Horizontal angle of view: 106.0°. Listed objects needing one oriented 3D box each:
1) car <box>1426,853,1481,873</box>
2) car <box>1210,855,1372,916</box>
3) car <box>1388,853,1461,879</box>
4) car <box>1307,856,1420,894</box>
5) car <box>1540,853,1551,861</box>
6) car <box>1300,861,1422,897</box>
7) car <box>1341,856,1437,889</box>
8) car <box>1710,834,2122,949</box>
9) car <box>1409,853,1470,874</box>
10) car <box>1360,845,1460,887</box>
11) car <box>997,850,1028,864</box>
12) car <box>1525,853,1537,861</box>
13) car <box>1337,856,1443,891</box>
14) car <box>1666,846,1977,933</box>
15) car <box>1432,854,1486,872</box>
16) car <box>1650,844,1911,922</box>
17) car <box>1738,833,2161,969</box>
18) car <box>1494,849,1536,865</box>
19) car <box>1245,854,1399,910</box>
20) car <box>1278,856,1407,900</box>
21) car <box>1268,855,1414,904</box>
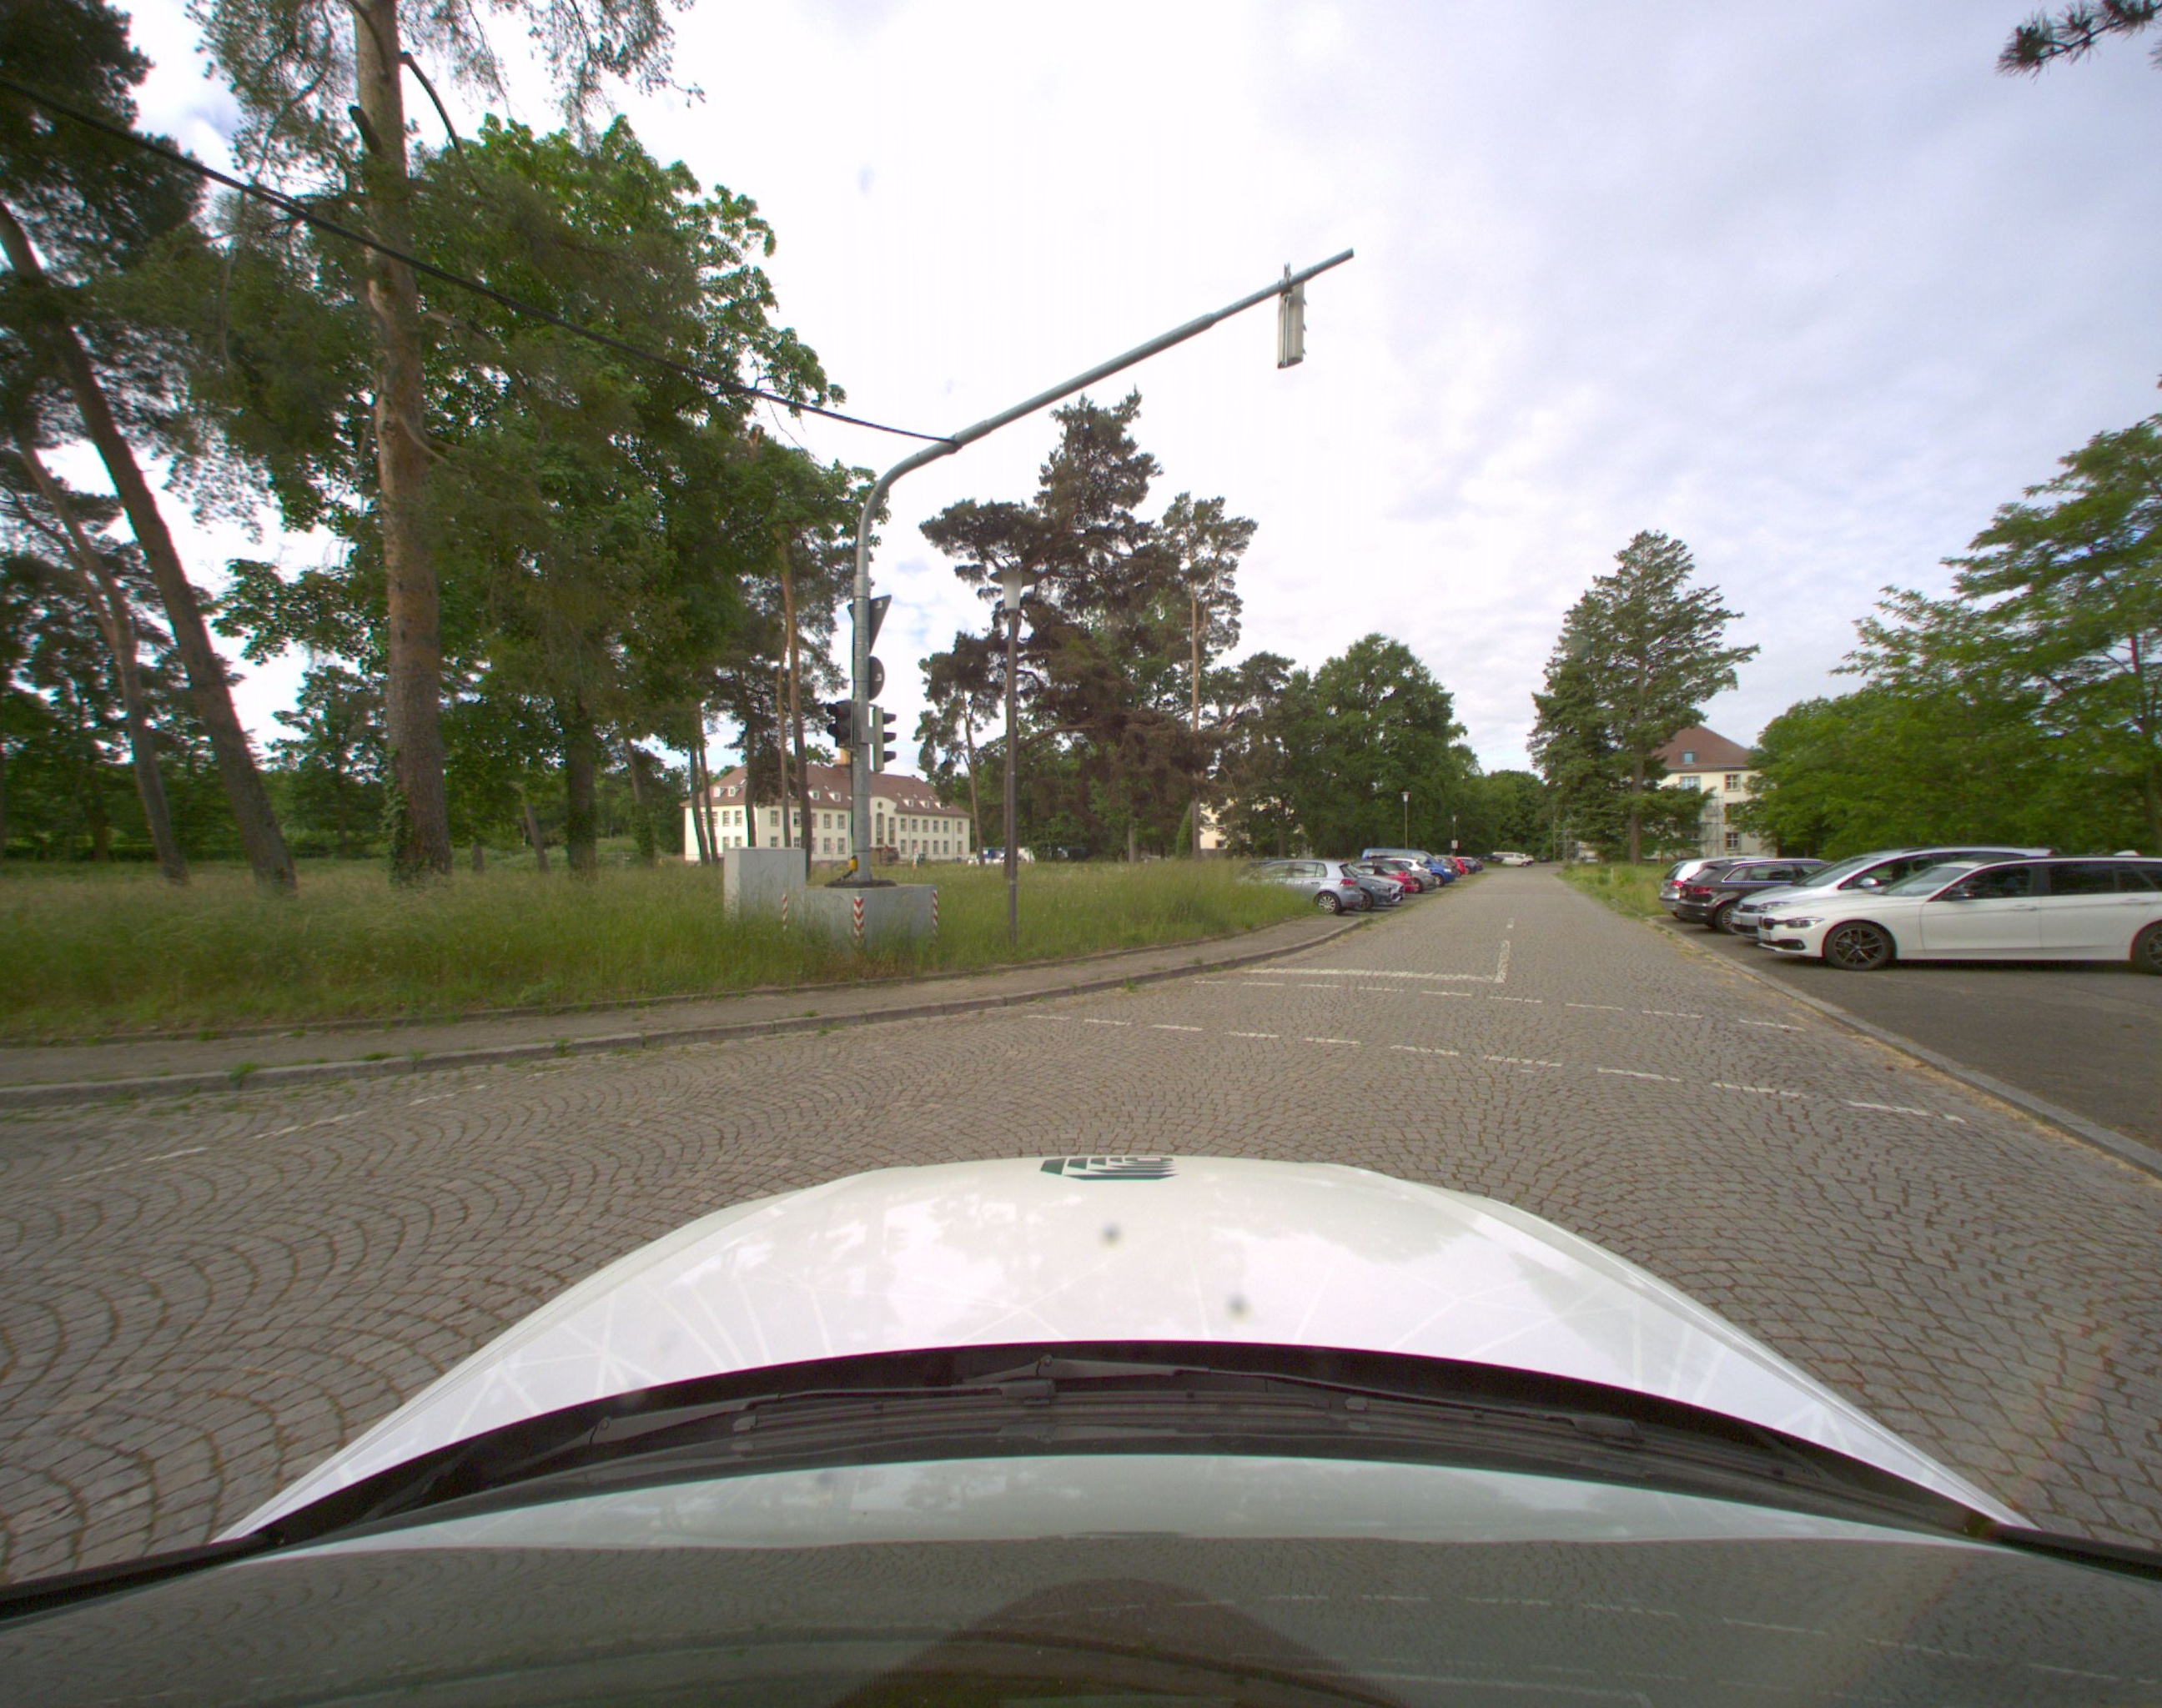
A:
[{"bbox_3d":[31.716,0.745,69.336,4.189,1.577,1.898,1,1,27],"label":"car"},{"bbox_3d":[5.741,0.811,22.328,3.949,1.543,1.917,0,0,28],"label":"car"},{"bbox_3d":[21.603,0.739,51.203,4.127,1.622,1.998,0,0,26],"label":"car"},{"bbox_3d":[11.699,0.822,33.749,4.126,1.482,1.857,0,0,30],"label":"car"},{"bbox_3d":[97.415,0.608,170.792,1.933,1.522,4.024,0,0,27],"label":"car"},{"bbox_3d":[10.734,0.931,31.230,4.126,1.266,1.842,0,0,30],"label":"car"},{"bbox_3d":[14.645,0.839,38.753,4.029,1.497,1.857,0,0,30],"label":"car"},{"bbox_3d":[13.126,0.627,13.236,4.201,1.596,1.896,-4,-2,25],"label":"car"},{"bbox_3d":[26.566,0.715,60.383,4.017,1.525,1.916,0,0,27],"label":"car"},{"bbox_3d":[17.466,0.641,43.280,4.737,2.122,2.128,0,0,28],"label":"car"},{"bbox_3d":[-10.287,0.483,123.193,1.974,2.014,5.263,-1,-1,31],"label":"car"},{"bbox_3d":[94.946,0.637,171.808,2.099,1.522,4.024,0,0,28],"label":"car"},{"bbox_3d":[13.653,0.836,36.013,4.126,1.491,1.876,0,0,30],"label":"car"},{"bbox_3d":[14.066,0.702,15.839,4.035,1.453,1.896,-4,-2,26],"label":"car"},{"bbox_3d":[34.081,0.792,73.439,4.262,1.461,1.987,1,1,30],"label":"car"},{"bbox_3d":[15.381,0.661,18.227,4.035,1.515,1.815,-4,-2,26],"label":"car"},{"bbox_3d":[11.946,0.634,10.955,4.451,1.566,1.916,-4,-2,26],"label":"car"},{"bbox_3d":[61.017,0.427,114.687,5.186,2.168,2.012,0,0,26],"label":"car"},{"bbox_3d":[7.288,0.804,24.613,4.211,1.548,1.947,0,0,25],"label":"car"},{"bbox_3d":[9.378,0.823,29.252,4.127,1.476,1.876,0,0,28],"label":"car"},{"bbox_3d":[8.628,0.811,27.028,4.333,1.507,1.947,0,0,27],"label":"car"}]
